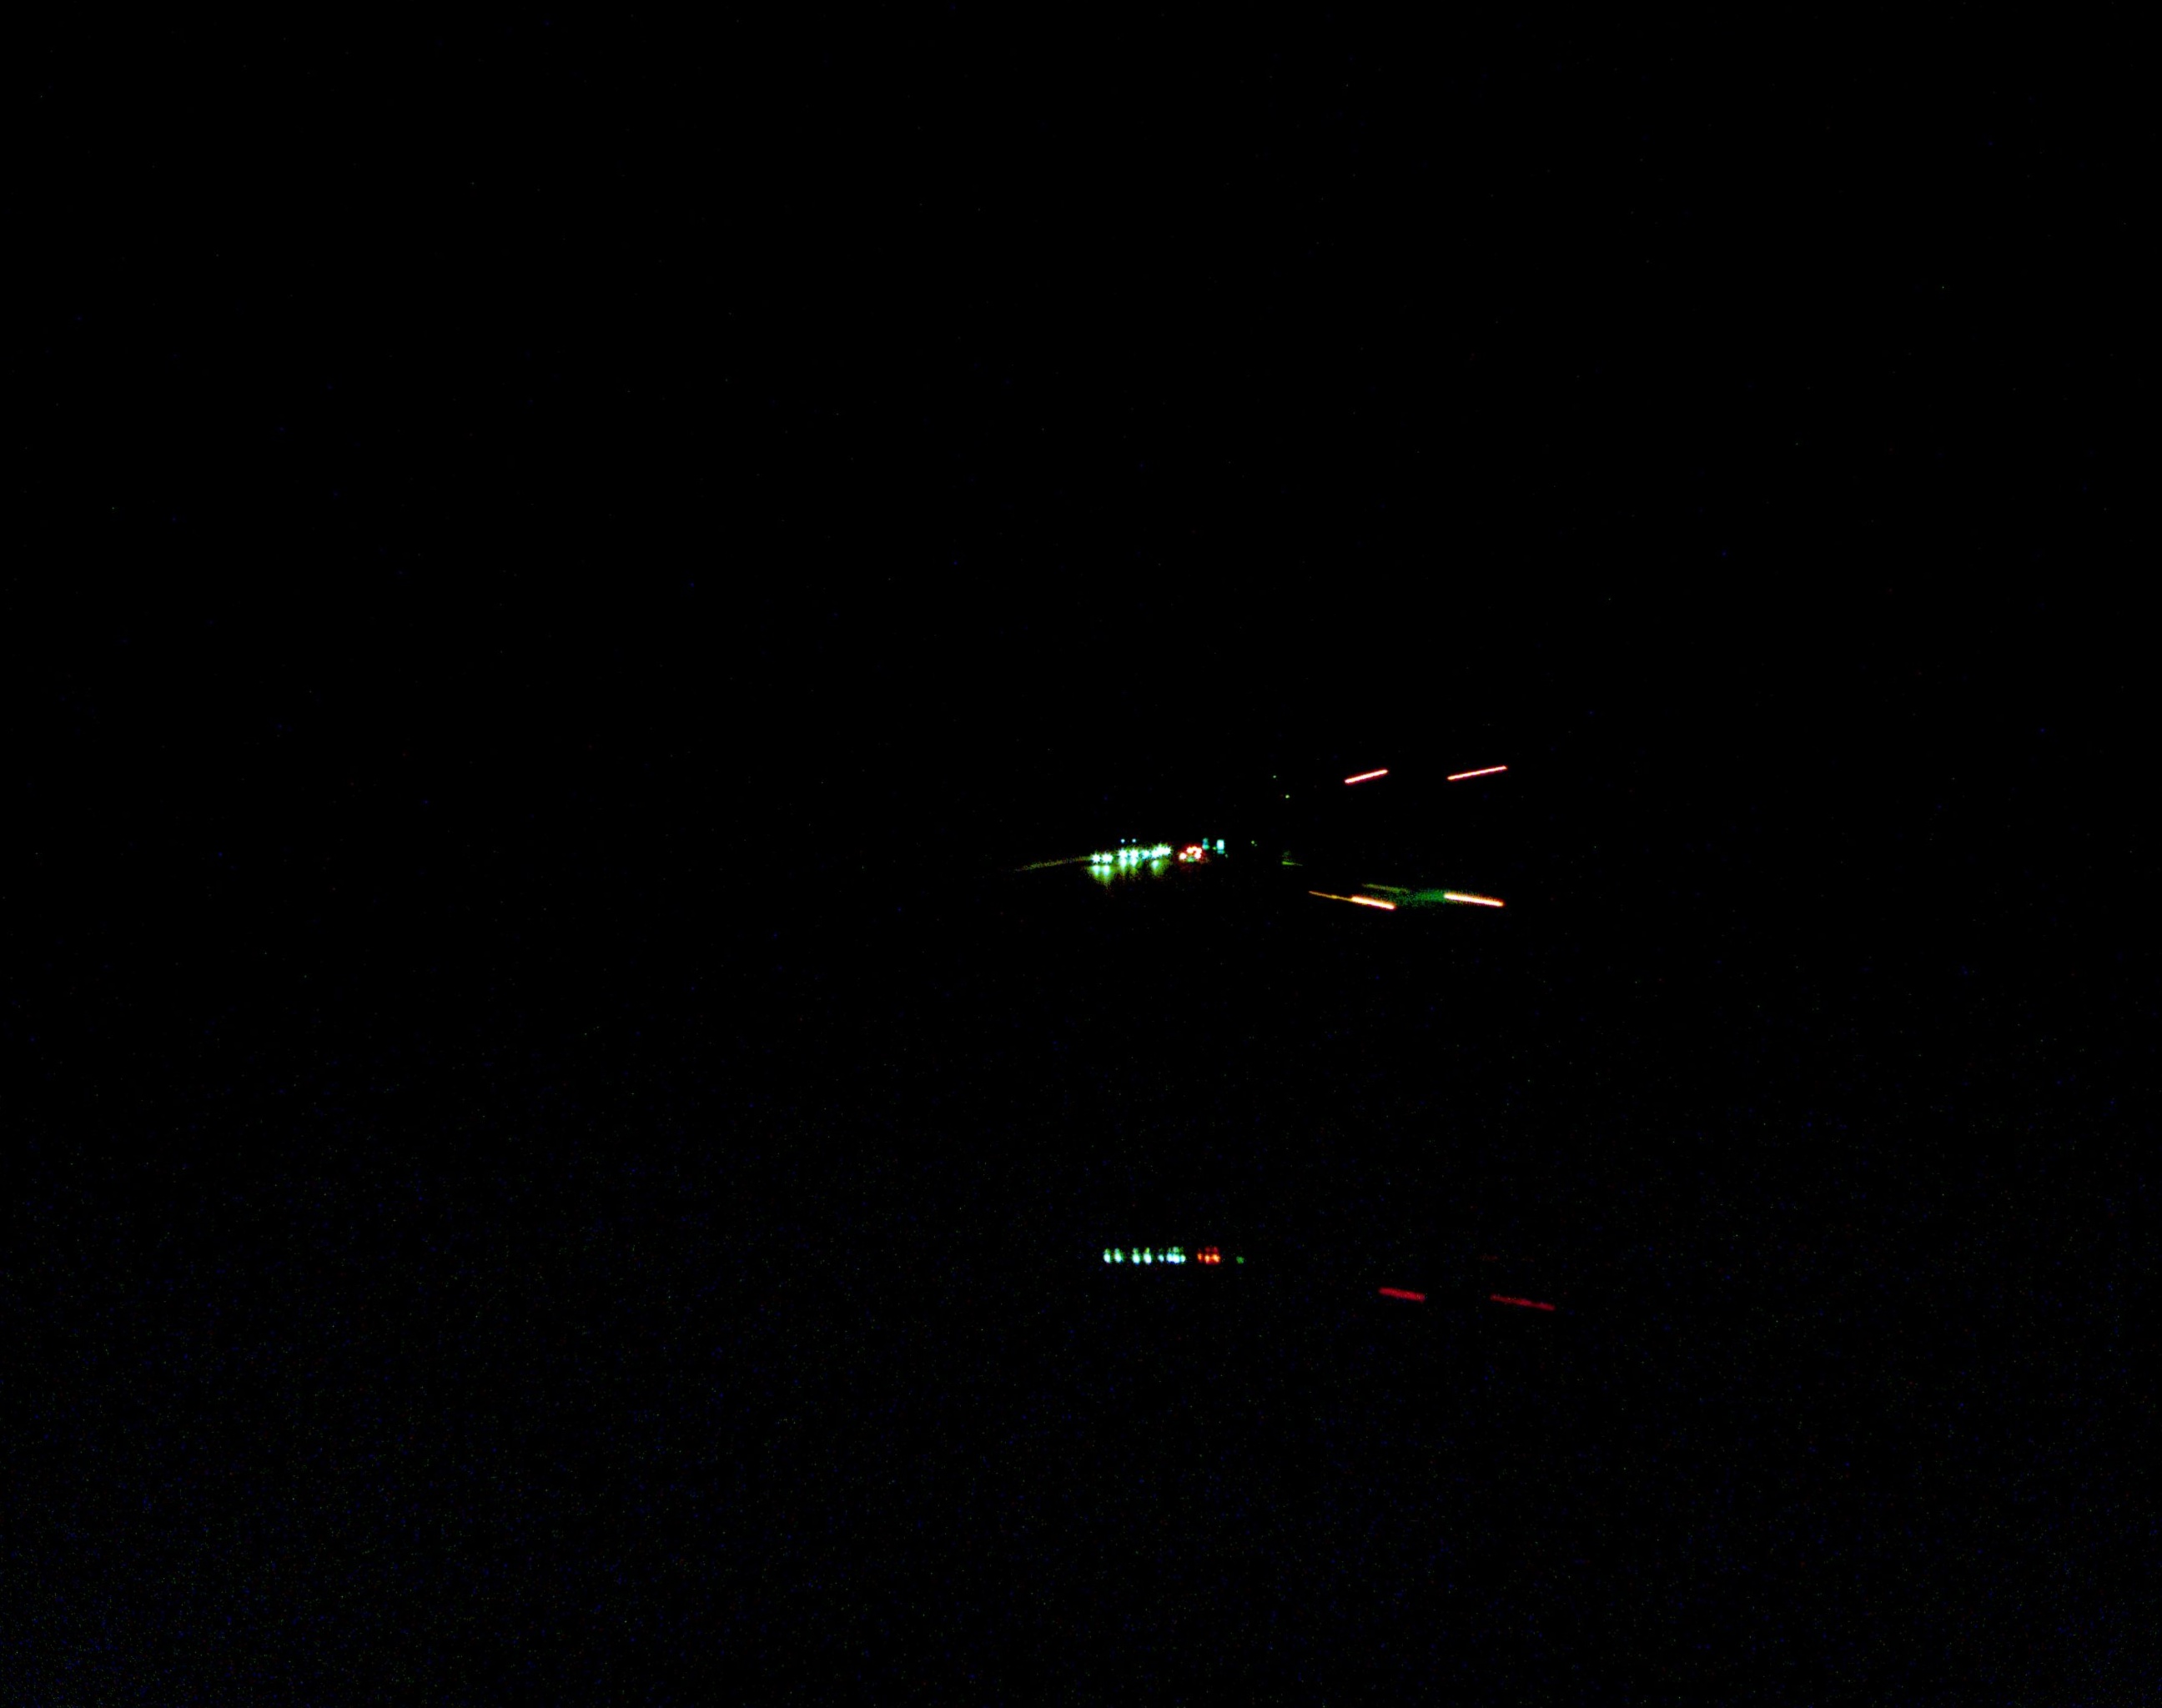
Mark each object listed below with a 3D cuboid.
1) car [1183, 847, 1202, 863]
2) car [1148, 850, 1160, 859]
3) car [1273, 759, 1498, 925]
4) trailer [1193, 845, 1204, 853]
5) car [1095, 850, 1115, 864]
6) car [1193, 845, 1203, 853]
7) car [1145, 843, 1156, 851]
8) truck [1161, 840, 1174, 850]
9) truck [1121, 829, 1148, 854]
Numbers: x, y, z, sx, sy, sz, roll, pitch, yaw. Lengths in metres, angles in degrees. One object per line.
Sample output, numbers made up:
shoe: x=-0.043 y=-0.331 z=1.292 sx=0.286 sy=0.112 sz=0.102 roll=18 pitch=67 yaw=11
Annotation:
car: x=10.631 y=0.041 z=72.702 sx=1.687 sy=1.450 sz=4.202 roll=-1 pitch=1 yaw=8
car: x=12.828 y=0.088 z=133.300 sx=1.811 sy=1.508 sz=3.939 roll=0 pitch=0 yaw=11
car: x=6.660 y=-0.311 z=17.983 sx=2.492 sy=3.088 sz=7.384 roll=-1 pitch=1 yaw=1
trailer: x=24.249 y=-1.003 z=156.730 sx=2.016 sy=1.630 sz=3.419 roll=-1 pitch=1 yaw=9
car: x=2.628 y=0.350 z=83.953 sx=1.811 sy=1.508 sz=3.938 roll=0 pitch=0 yaw=7
car: x=24.859 y=-1.104 z=160.795 sx=2.016 sy=1.630 sz=4.865 roll=-1 pitch=1 yaw=9
car: x=14.824 y=-1.467 z=162.008 sx=1.689 sy=1.619 sz=4.728 roll=0 pitch=0 yaw=14
truck: x=20.979 y=-2.160 z=183.070 sx=2.424 sy=2.410 sz=7.097 roll=-1 pitch=1 yaw=12
truck: x=9.863 y=-2.284 z=138.579 sx=2.969 sy=4.251 sz=17.154 roll=-1 pitch=1 yaw=10
